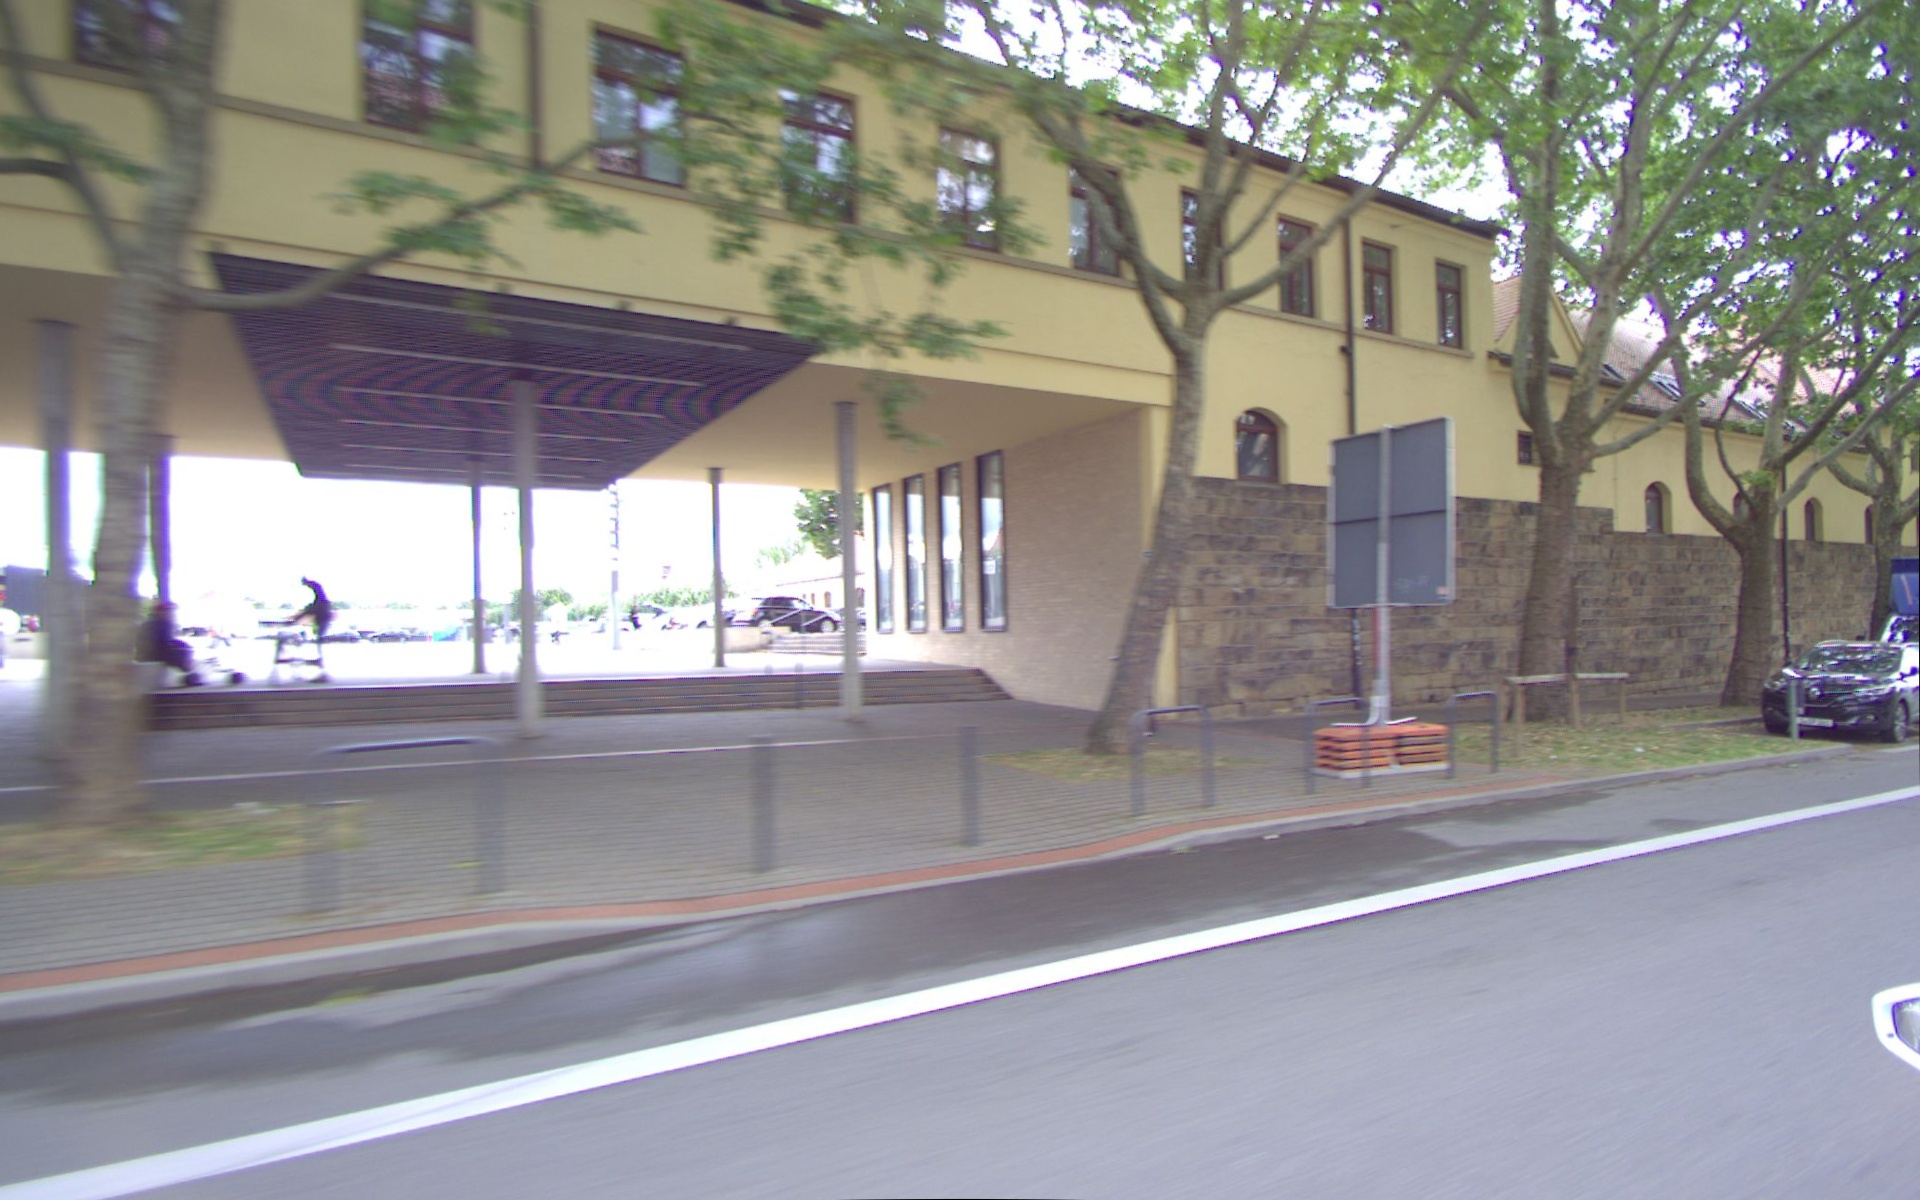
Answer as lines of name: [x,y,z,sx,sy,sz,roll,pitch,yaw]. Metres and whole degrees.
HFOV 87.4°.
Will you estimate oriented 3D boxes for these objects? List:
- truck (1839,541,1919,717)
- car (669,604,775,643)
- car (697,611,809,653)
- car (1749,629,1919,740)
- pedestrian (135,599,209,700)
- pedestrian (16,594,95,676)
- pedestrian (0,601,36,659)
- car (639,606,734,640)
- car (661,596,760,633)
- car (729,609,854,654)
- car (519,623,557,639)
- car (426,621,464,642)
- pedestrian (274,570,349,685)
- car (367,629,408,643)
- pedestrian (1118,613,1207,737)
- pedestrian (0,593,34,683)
truck: [21.805,0.666,21.772,7.168,3.461,2.203,2,-1,-32]
car: [-9.554,0.940,40.366,3.776,1.499,1.690,1,-1,-35]
car: [-7.821,1.187,38.021,3.776,1.499,1.690,1,-1,-35]
car: [15.864,1.434,17.749,4.206,1.711,1.722,2,-1,-32]
pedestrian: [-12.151,0.762,15.511,0.751,1.508,0.571,3,-1,-29]
pedestrian: [-17.457,0.672,19.414,0.953,1.542,0.805,1,0,-31]
pedestrian: [-26.142,0.820,27.661,0.802,1.542,0.956,1,0,-31]
car: [-12.301,1.036,45.179,3.776,1.499,1.690,1,-1,-35]
car: [-10.682,0.628,43.069,3.776,1.499,1.690,1,-1,-35]
car: [-6.015,1.123,35.960,3.965,1.499,1.978,2,-1,-38]
car: [-51.313,3.748,122.252,3.957,1.862,1.982,2,-1,-33]
car: [-61.411,3.736,119.827,3.946,2.405,1.987,2,-1,-25]
pedestrian: [-10.572,0.439,16.406,0.892,1.814,0.806,1,-1,-26]
car: [-64.987,4.107,114.031,3.957,1.505,1.982,2,-1,-33]
pedestrian: [2.907,1.056,14.488,0.913,1.710,0.860,1,-1,-22]
pedestrian: [-16.849,0.648,17.445,0.953,1.542,0.805,1,0,-31]
